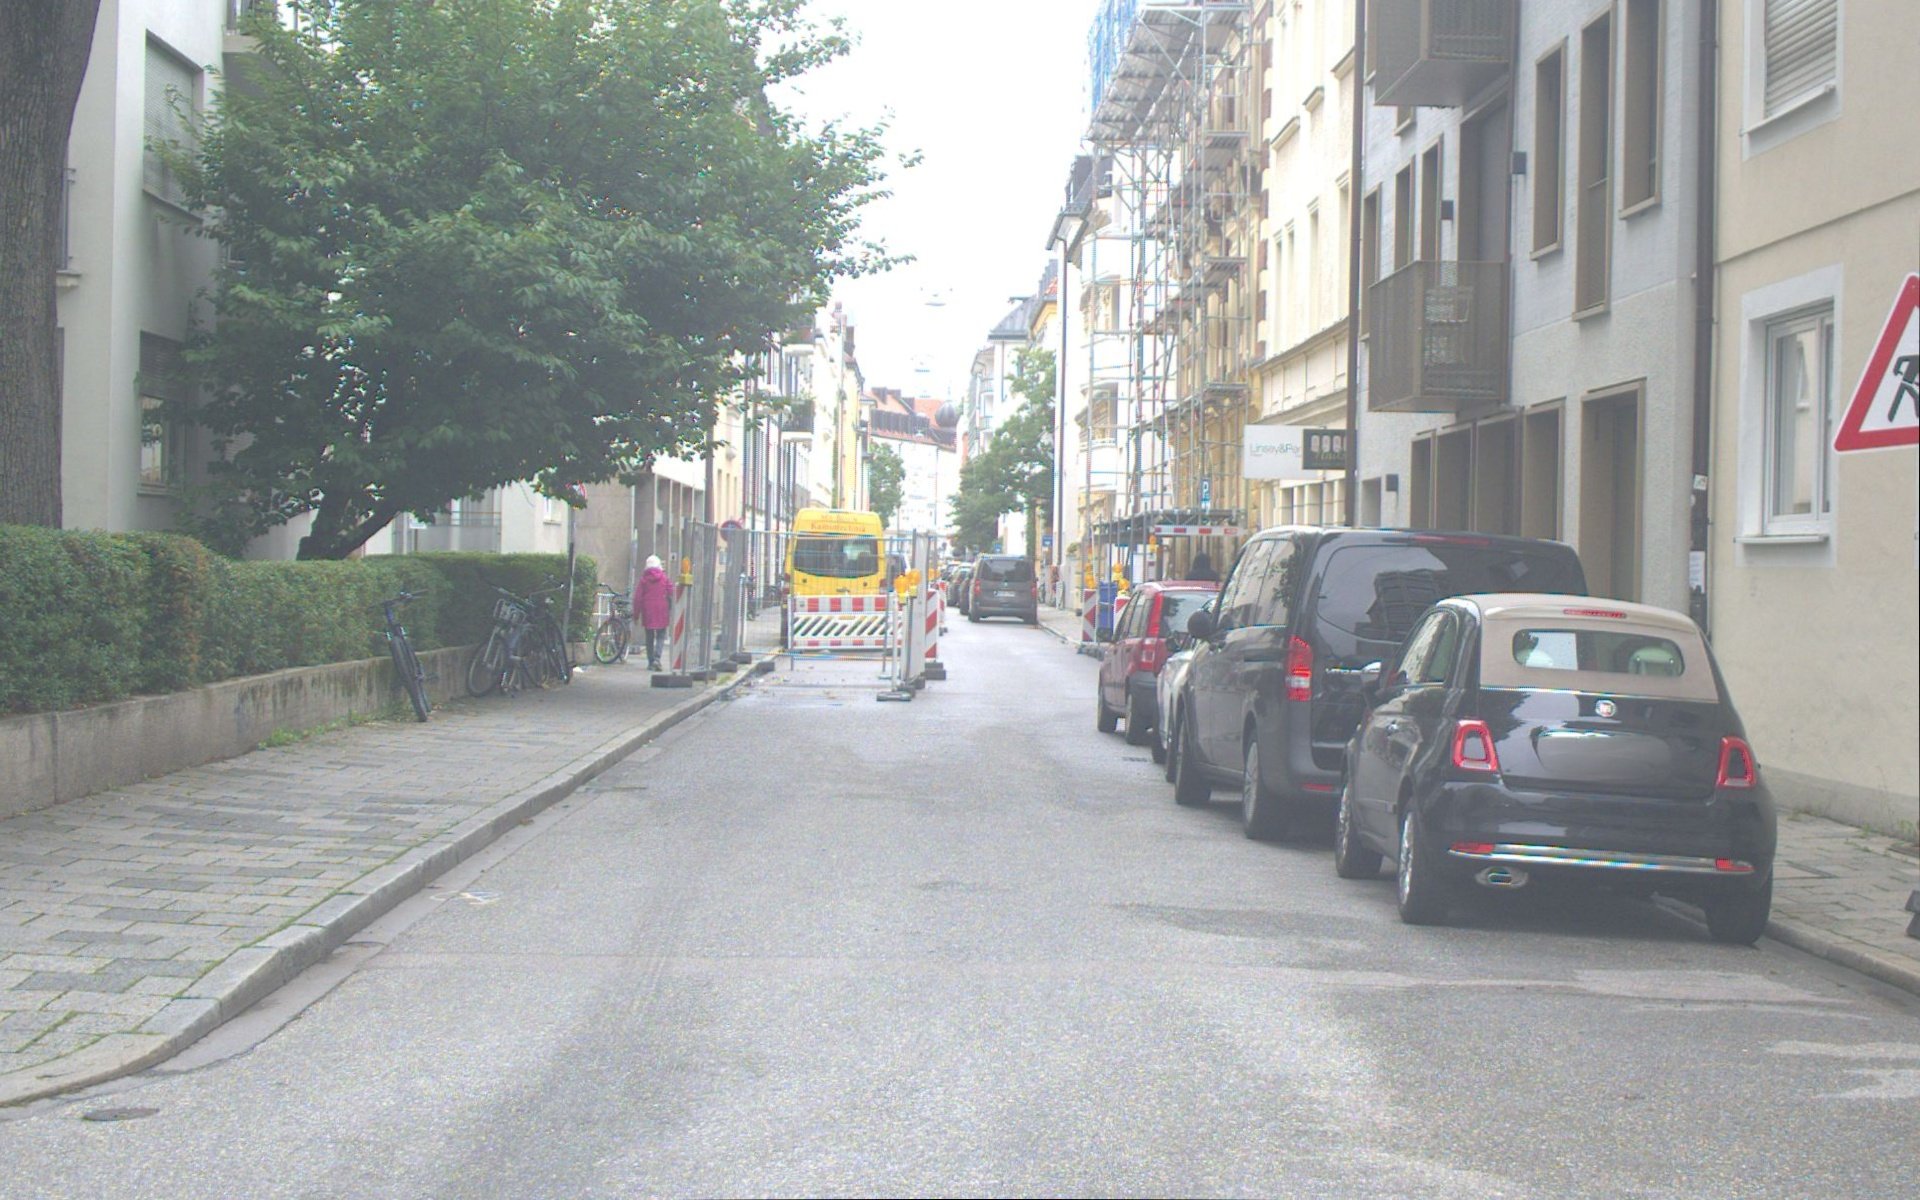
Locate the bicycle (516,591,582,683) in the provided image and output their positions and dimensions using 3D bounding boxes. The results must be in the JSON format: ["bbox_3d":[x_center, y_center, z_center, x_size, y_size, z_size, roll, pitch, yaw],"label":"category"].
[{"bbox_3d":[-4.624,0.412,38.765,0.443,0.975,1.853,4,0,0],"label":"bicycle"}]

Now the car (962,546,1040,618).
[{"bbox_3d":[1.154,-0.533,99.051,1.993,1.925,4.660,3,1,-2],"label":"car"}]

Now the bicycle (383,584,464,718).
[{"bbox_3d":[-4.561,0.414,29.281,0.346,1.068,1.780,5,1,-1],"label":"bicycle"}]

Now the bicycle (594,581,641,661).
[{"bbox_3d":[-4.834,0.290,48.571,0.377,1.059,1.597,7,1,0],"label":"bicycle"}]

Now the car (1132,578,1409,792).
[{"bbox_3d":[2.380,0.606,27.351,1.768,1.456,4.380,3,1,1],"label":"car"}]

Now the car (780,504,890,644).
[{"bbox_3d":[-2.408,-0.522,67.054,1.993,2.570,6.737,1,1,-2],"label":"car"}]

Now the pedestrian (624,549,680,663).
[{"bbox_3d":[-4.223,0.074,47.225,0.638,1.526,0.747,2,1,1],"label":"pedestrian"}]

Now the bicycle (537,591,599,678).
[{"bbox_3d":[-4.627,0.404,40.631,0.443,0.975,1.816,4,0,0],"label":"bicycle"}]

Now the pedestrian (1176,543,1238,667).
[{"bbox_3d":[3.568,0.067,49.763,0.729,1.746,0.988,-2,1,-2],"label":"pedestrian"}]

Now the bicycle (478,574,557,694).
[{"bbox_3d":[-4.459,0.342,34.739,0.488,1.147,1.699,4,0,0],"label":"bicycle"}]

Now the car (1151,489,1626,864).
[{"bbox_3d":[2.509,0.392,21.454,1.990,1.970,4.886,3,1,-3],"label":"car"}]

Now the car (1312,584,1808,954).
[{"bbox_3d":[2.739,0.711,16.422,1.634,1.466,3.538,3,1,-1],"label":"car"}]

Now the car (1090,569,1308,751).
[{"bbox_3d":[2.199,0.511,32.584,1.772,1.519,4.066,3,1,1],"label":"car"}]

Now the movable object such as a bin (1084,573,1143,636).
[{"bbox_3d":[3.421,0.101,76.733,1.087,1.341,1.317,-2,1,12],"label":"movable object such as a bin"}]
